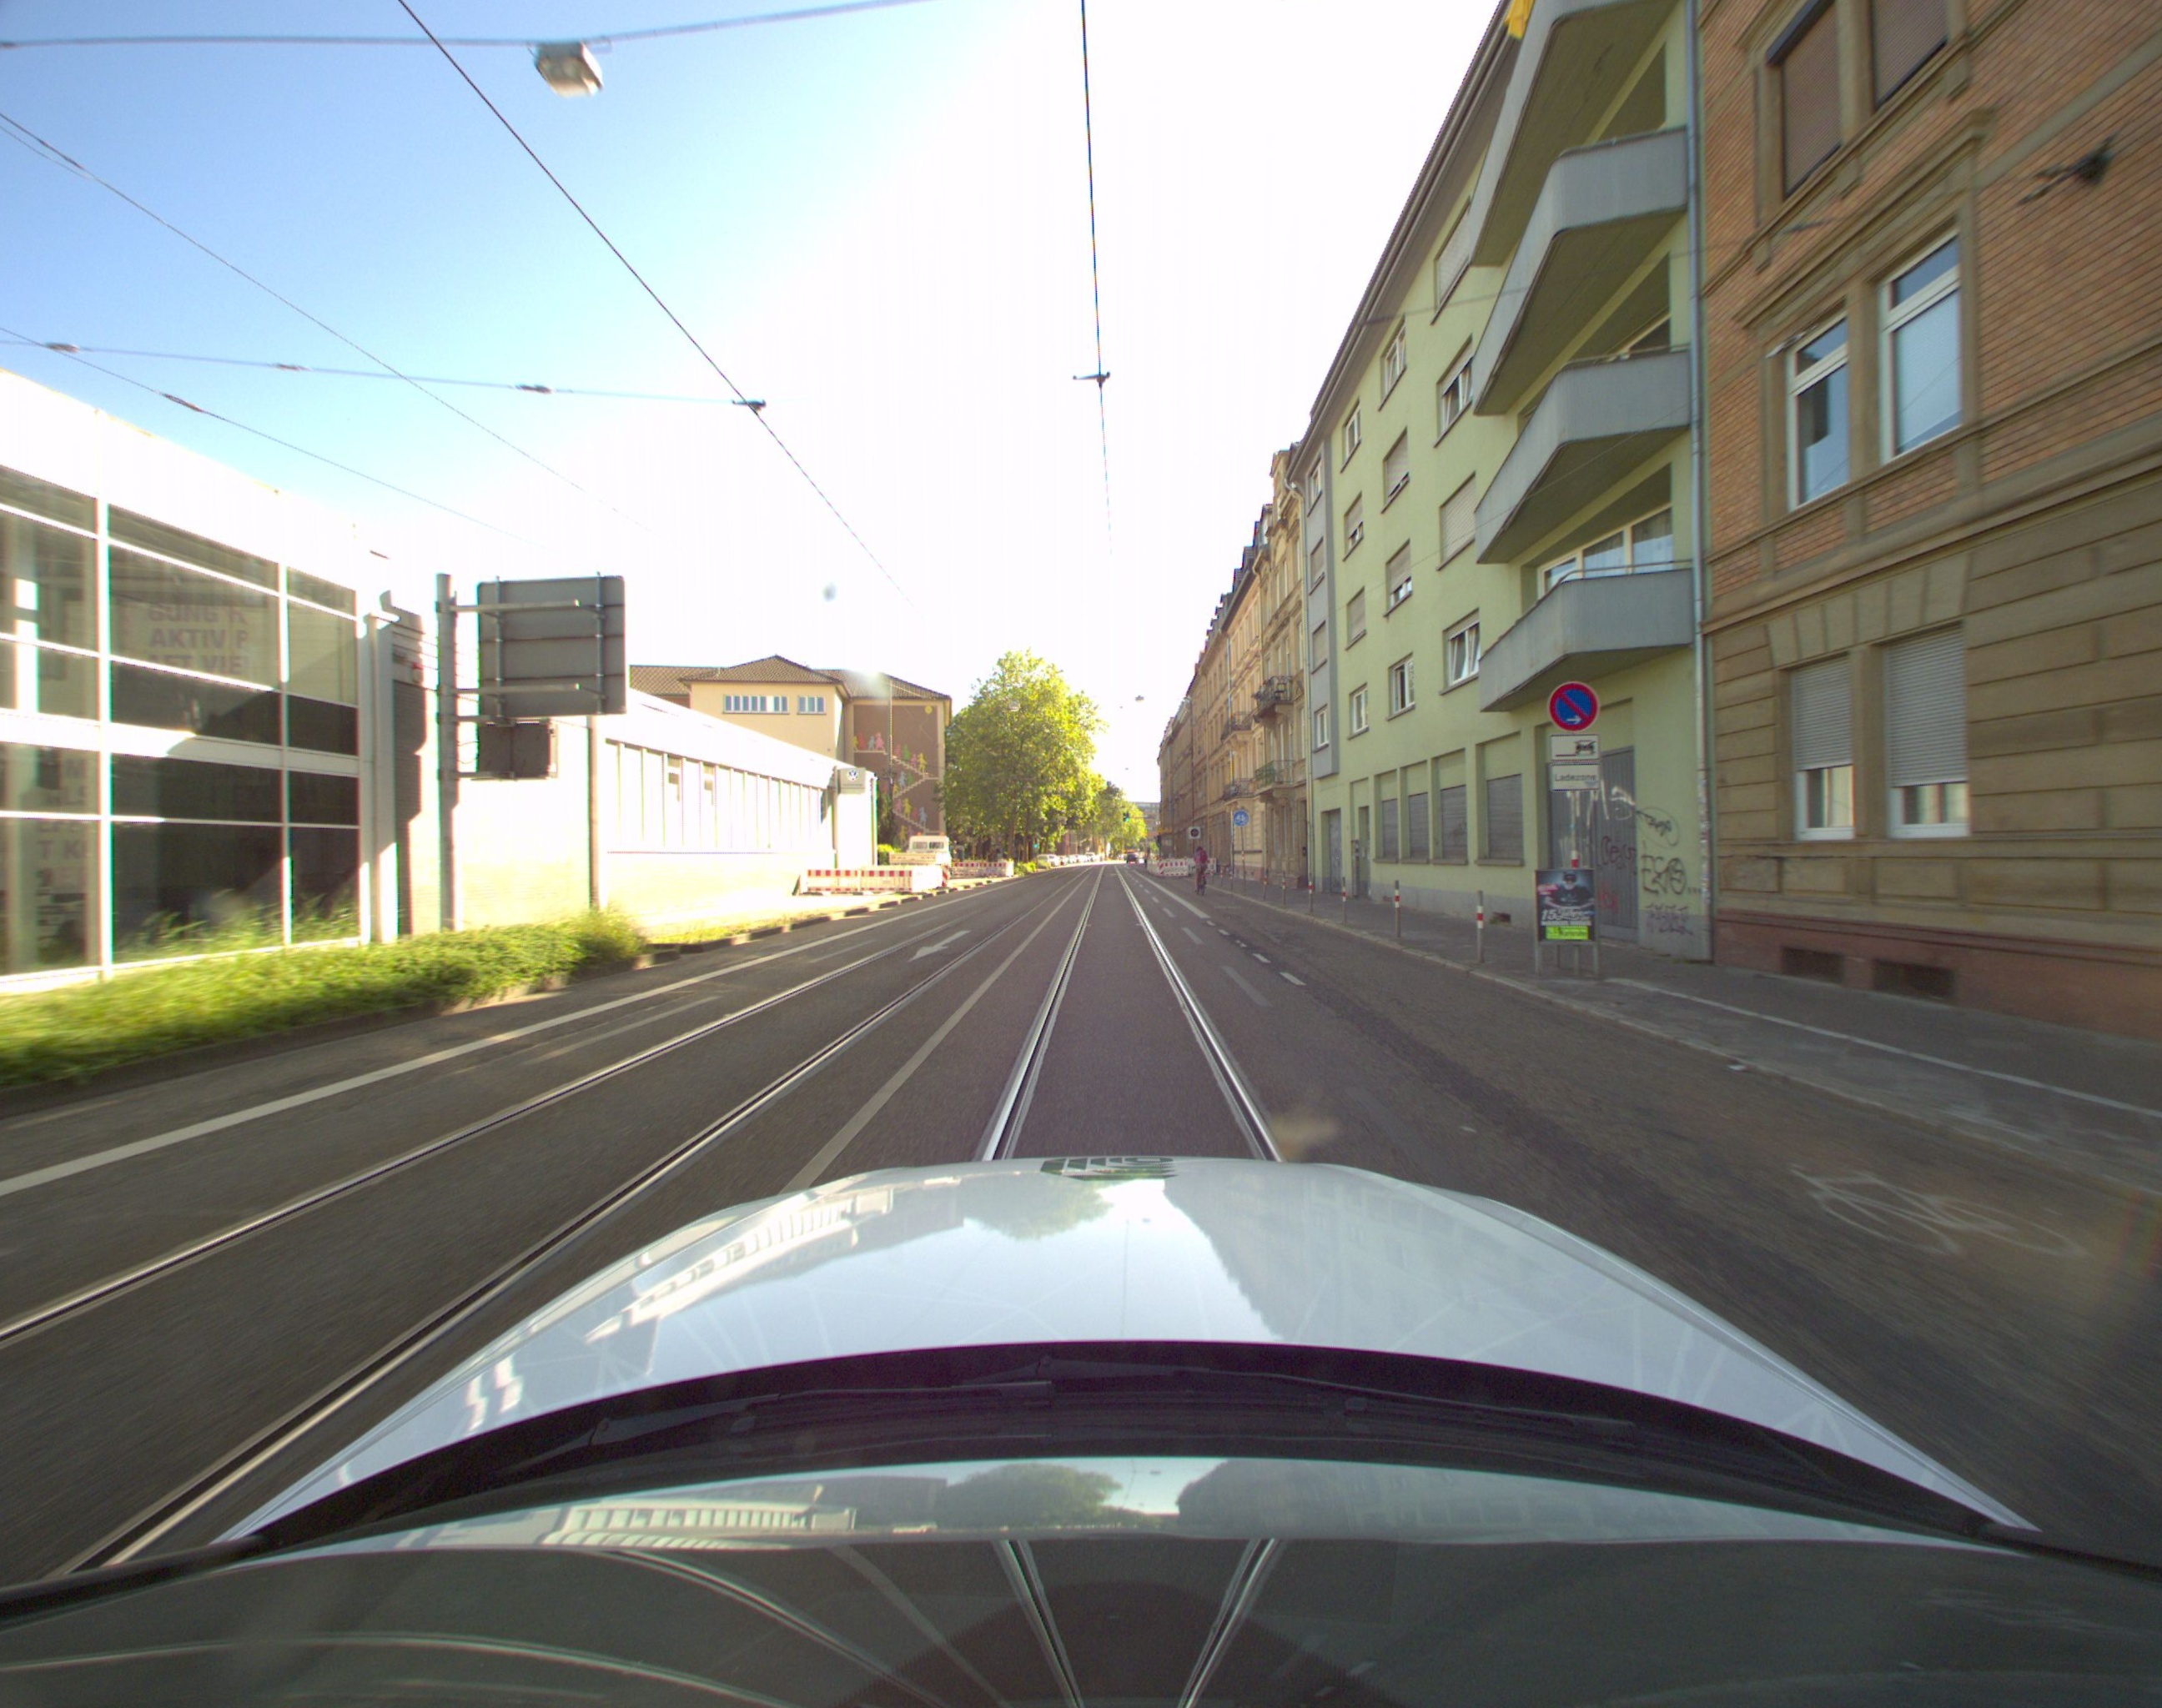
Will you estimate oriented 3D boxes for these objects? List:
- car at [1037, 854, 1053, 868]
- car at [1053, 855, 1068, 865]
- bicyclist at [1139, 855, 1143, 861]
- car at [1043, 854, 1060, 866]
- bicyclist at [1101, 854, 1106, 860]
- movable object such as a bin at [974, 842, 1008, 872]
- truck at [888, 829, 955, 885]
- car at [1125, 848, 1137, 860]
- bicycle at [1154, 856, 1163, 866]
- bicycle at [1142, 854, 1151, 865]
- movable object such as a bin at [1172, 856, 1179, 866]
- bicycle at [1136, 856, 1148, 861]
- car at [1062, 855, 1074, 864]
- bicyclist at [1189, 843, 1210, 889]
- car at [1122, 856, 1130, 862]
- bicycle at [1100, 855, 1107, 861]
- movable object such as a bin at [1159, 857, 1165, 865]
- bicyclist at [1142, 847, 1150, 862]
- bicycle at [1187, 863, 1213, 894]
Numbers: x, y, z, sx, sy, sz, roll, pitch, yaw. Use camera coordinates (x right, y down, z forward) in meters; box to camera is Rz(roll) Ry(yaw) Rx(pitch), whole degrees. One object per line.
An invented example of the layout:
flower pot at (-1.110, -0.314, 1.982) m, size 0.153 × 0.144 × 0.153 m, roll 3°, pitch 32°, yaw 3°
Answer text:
car at (-4.393, 0.810, 99.368) m, size 1.538 × 1.658 × 3.767 m, roll 1°, pitch -1°, yaw 5°
car at (-3.150, 0.896, 125.510) m, size 1.740 × 1.509 × 4.048 m, roll 1°, pitch -1°, yaw 5°
bicyclist at (14.924, 0.994, 201.919) m, size 0.894 × 1.427 × 1.056 m, roll 0°, pitch -1°, yaw 11°
car at (-3.940, 0.846, 109.984) m, size 1.740 × 1.608 × 4.048 m, roll 1°, pitch -1°, yaw 5°
bicyclist at (5.570, 0.738, 199.187) m, size 1.071 × 1.427 × 1.149 m, roll 0°, pitch -1°, yaw 10°
movable object such as a bin at (-8.337, 0.243, 75.777) m, size 2.487 × 2.645 × 5.987 m, roll 1°, pitch 0°, yaw -1°
truck at (-8.602, 0.186, 44.686) m, size 2.531 × 2.830 × 6.371 m, roll 1°, pitch -1°, yaw -2°
car at (8.641, -0.010, 140.562) m, size 1.985 × 2.014 × 4.002 m, roll 1°, pitch -1°, yaw 2°
bicycle at (11.980, 1.041, 125.373) m, size 0.964 × 1.515 × 3.258 m, roll 0°, pitch -1°, yaw 14°
bicycle at (7.116, 0.613, 87.963) m, size 0.852 × 1.088 × 2.488 m, roll 1°, pitch -1°, yaw 2°
movable object such as a bin at (9.954, 0.741, 86.162) m, size 0.618 × 1.110 × 0.780 m, roll 1°, pitch -1°, yaw -1°
bicycle at (15.062, 1.090, 201.961) m, size 2.868 × 1.231 × 0.887 m, roll 0°, pitch -1°, yaw 12°
car at (-2.286, 1.004, 148.452) m, size 1.740 × 1.495 × 4.048 m, roll 1°, pitch -1°, yaw 5°
bicyclist at (4.446, 0.461, 30.671) m, size 0.664 × 1.697 × 1.043 m, roll 1°, pitch -1°, yaw 1°
car at (11.332, 1.266, 206.926) m, size 1.739 × 1.422 × 4.051 m, roll 1°, pitch -1°, yaw 7°
bicycle at (5.530, 1.036, 199.223) m, size 1.227 × 1.572 × 2.904 m, roll 0°, pitch -1°, yaw 9°
movable object such as a bin at (10.403, 0.860, 104.346) m, size 0.671 × 1.036 × 0.814 m, roll -1°, pitch 0°, yaw 2°
bicyclist at (7.052, 0.031, 87.952) m, size 0.835 × 1.558 × 0.966 m, roll 1°, pitch -1°, yaw 1°
bicycle at (4.449, 0.888, 30.629) m, size 0.678 × 1.114 × 2.708 m, roll 1°, pitch 0°, yaw 2°
